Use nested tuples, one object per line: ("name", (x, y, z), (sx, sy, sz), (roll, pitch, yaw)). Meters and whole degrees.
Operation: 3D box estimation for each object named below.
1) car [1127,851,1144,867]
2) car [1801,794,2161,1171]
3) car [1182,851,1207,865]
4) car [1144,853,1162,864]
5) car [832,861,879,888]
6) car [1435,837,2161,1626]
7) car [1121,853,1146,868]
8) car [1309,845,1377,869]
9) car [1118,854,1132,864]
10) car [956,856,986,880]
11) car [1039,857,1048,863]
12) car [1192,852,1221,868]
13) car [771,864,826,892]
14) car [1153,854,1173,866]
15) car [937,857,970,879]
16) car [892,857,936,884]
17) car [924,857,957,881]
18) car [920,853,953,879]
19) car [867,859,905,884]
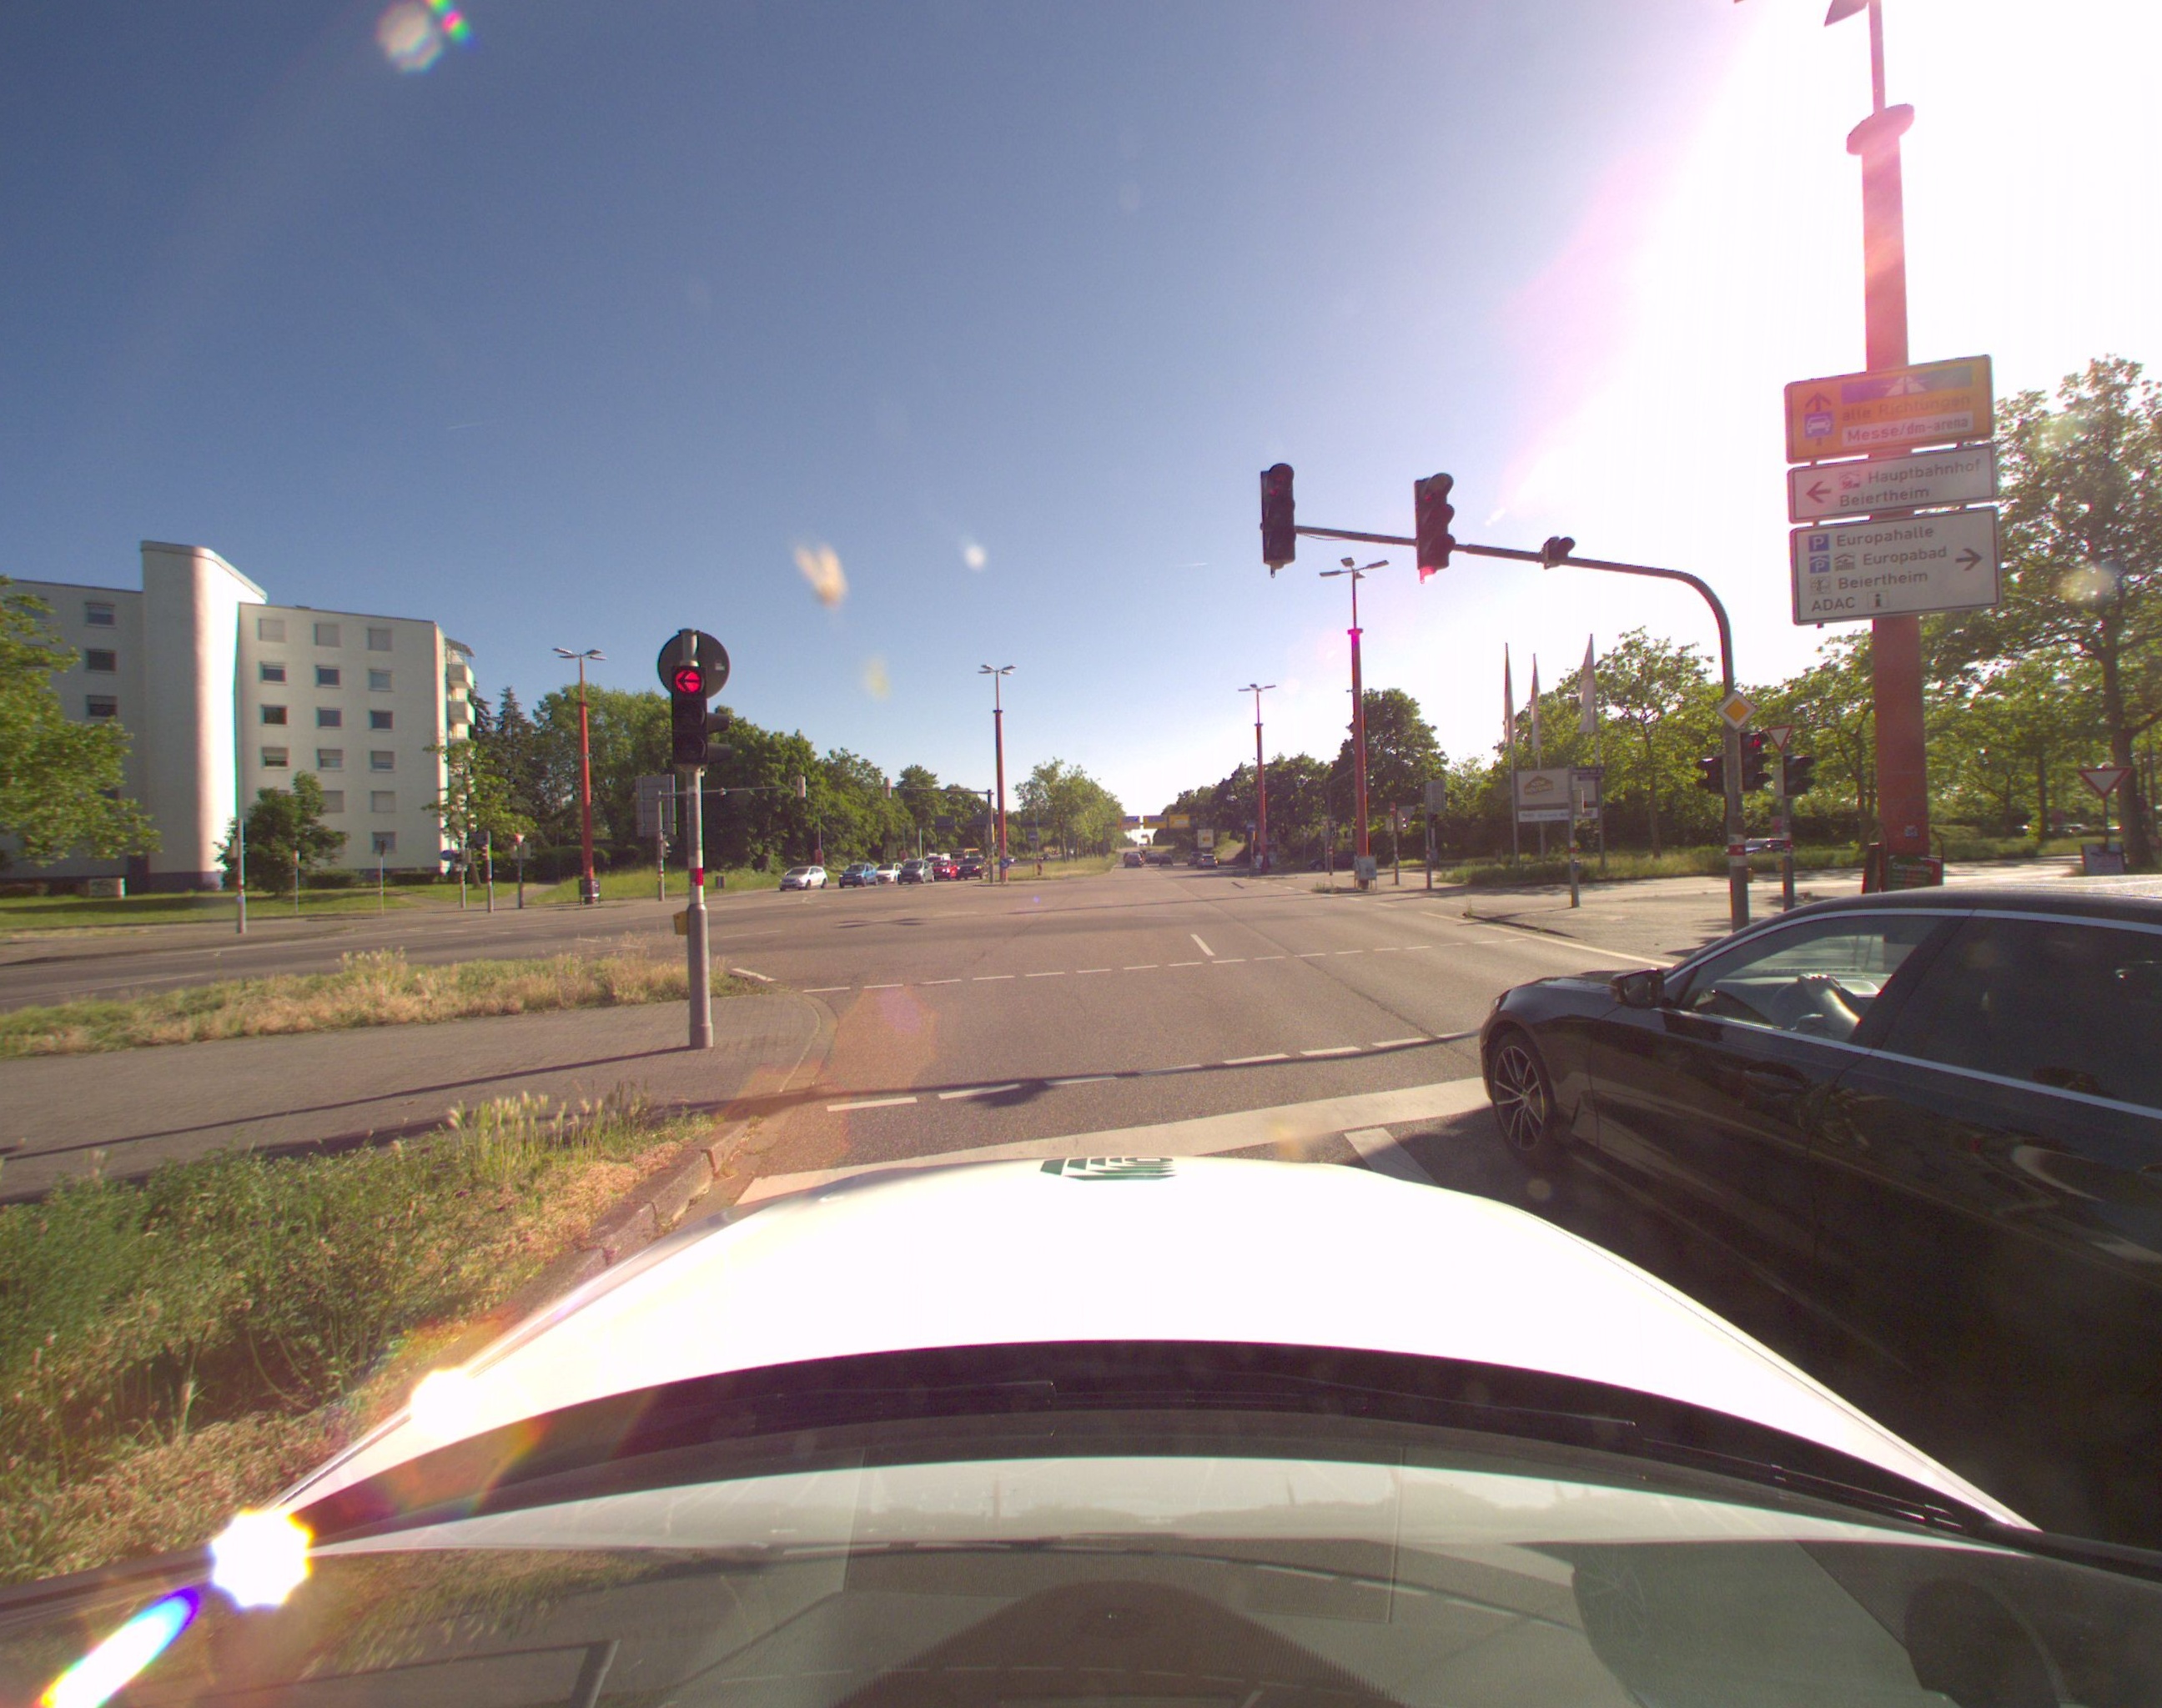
("car", (7.012, 0.651, 105.804), (1.986, 2.013, 4.002), (-2, 0, 2))
("car", (5.800, 0.561, 3.265), (1.959, 1.686, 4.479), (-1, 0, 2))
("car", (13.309, 0.465, 95.771), (2.153, 1.573, 4.277), (-2, 0, -2))
("car", (10.525, 0.644, 119.498), (2.153, 1.573, 4.277), (-2, 0, -2))
("car", (-14.237, 1.283, 51.643), (1.989, 1.573, 4.116), (-2, 0, -3))
("car", (2.953, 0.667, 2.376), (1.986, 1.394, 4.479), (-2, 0, 2))
("car", (5.684, 0.678, 88.899), (2.241, 1.573, 4.276), (-2, 0, -3))
("car", (18.792, 0.188, 58.486), (4.225, 1.573, 2.180), (-2, 0, 32))
("car", (7.594, 0.898, 141.280), (2.153, 1.573, 4.277), (-2, 0, -2))
("car", (-7.566, 0.938, 56.492), (1.874, 1.573, 4.112), (-2, 0, -6))
("car", (-9.104, 1.437, 200.174), (1.987, 1.573, 4.120), (-2, 0, 0))
("car", (12.799, 0.611, 83.559), (2.153, 1.573, 4.277), (-2, 0, -2))
("car", (-17.694, 1.466, 51.183), (1.987, 1.573, 4.120), (-2, 0, 0))
("car", (10.271, 0.786, 102.494), (1.948, 1.442, 4.277), (-2, 0, -2))
("car", (-10.066, 1.091, 64.656), (1.988, 1.573, 4.118), (-2, 0, -1))
("car", (-10.733, 1.045, 52.583), (1.988, 1.573, 4.119), (-2, 0, -1))
("car", (-10.104, 1.045, 58.874), (1.991, 1.573, 4.112), (-2, 0, -6))
("car", (-12.736, 1.051, 71.989), (2.055, 2.193, 4.377), (-2, 0, 0))
("car", (-13.739, 1.215, 57.526), (1.991, 1.573, 4.112), (-3, 0, -6))
